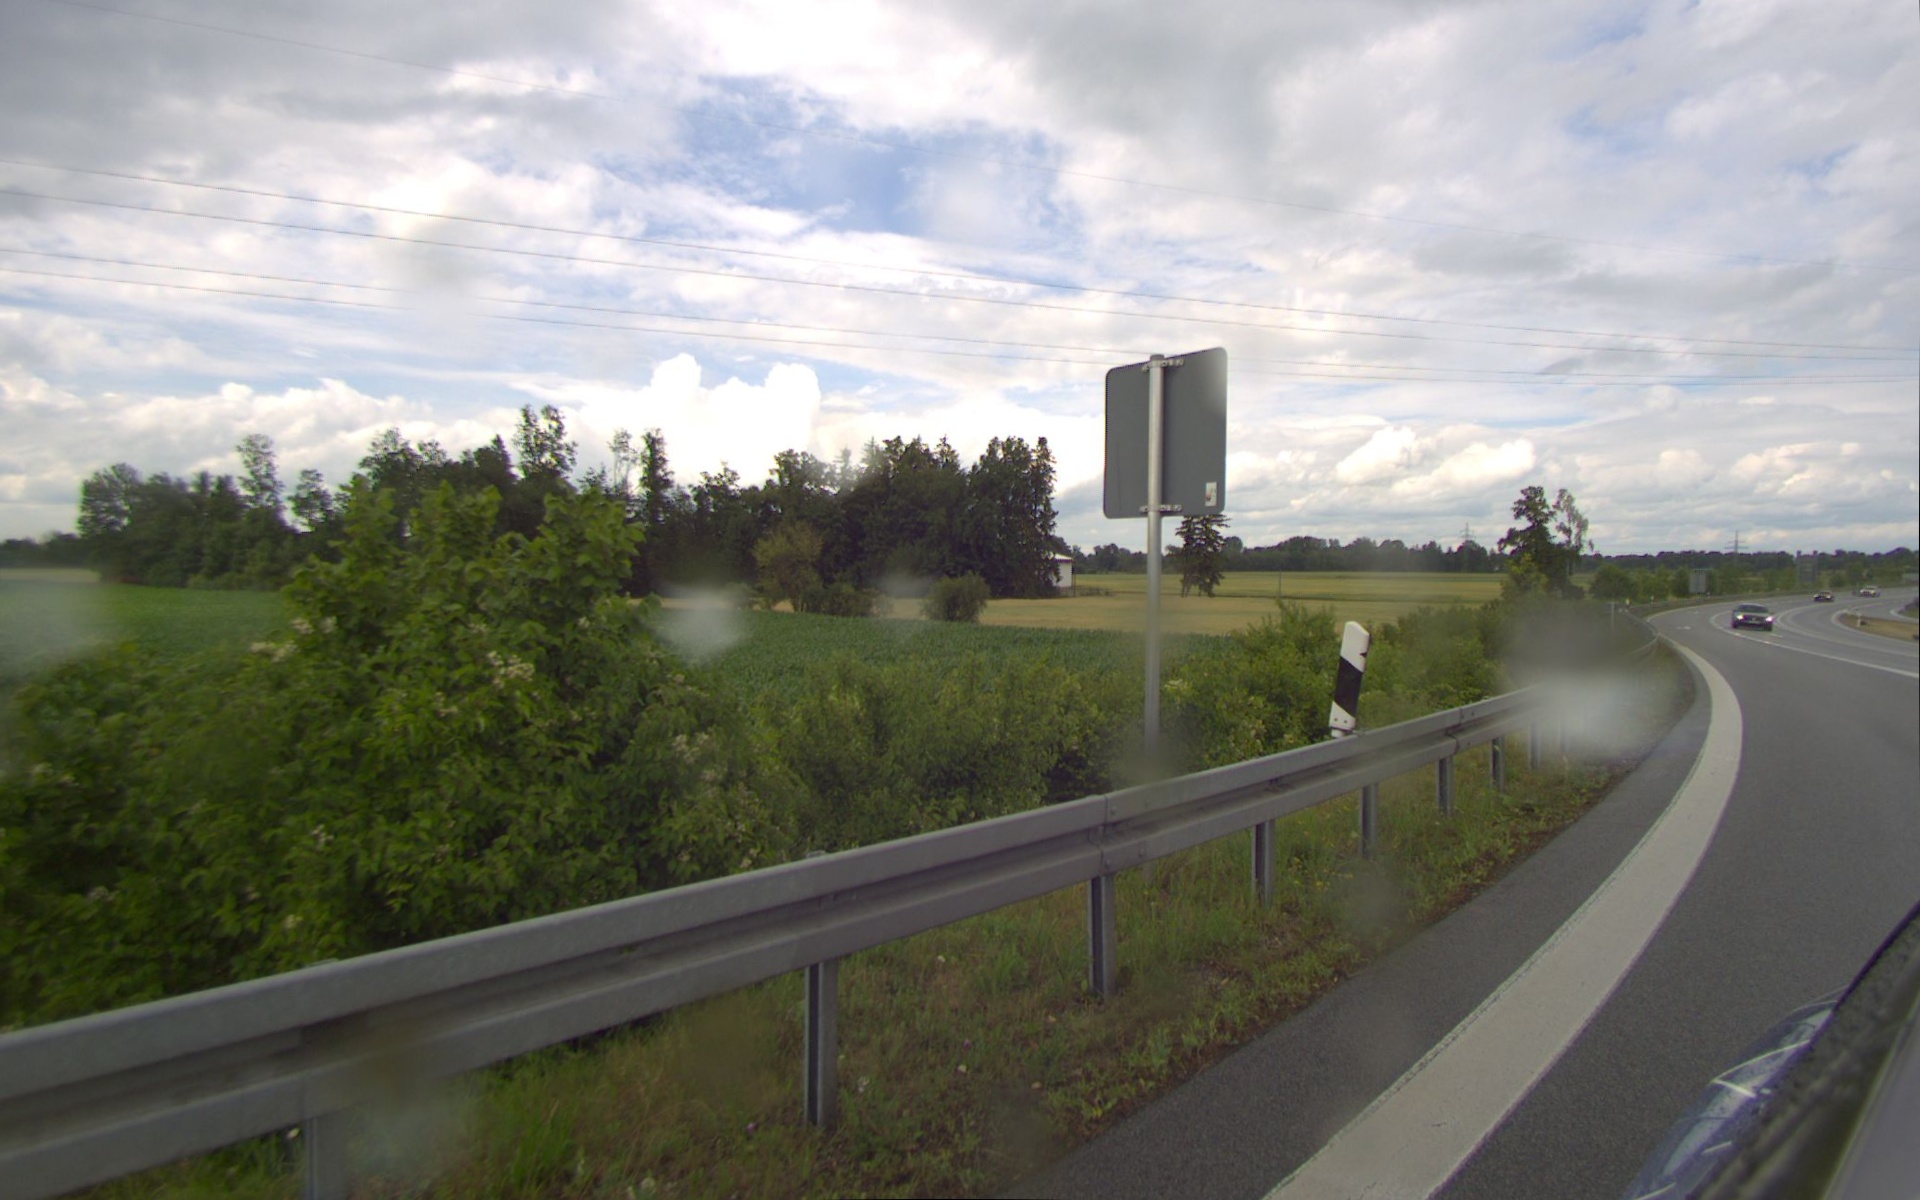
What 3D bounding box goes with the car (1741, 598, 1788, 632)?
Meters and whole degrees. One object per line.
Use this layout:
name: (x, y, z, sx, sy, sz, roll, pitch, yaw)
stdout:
car: (45.753, 0.819, 57.618, 1.989, 1.774, 3.946, 0, 1, 37)
